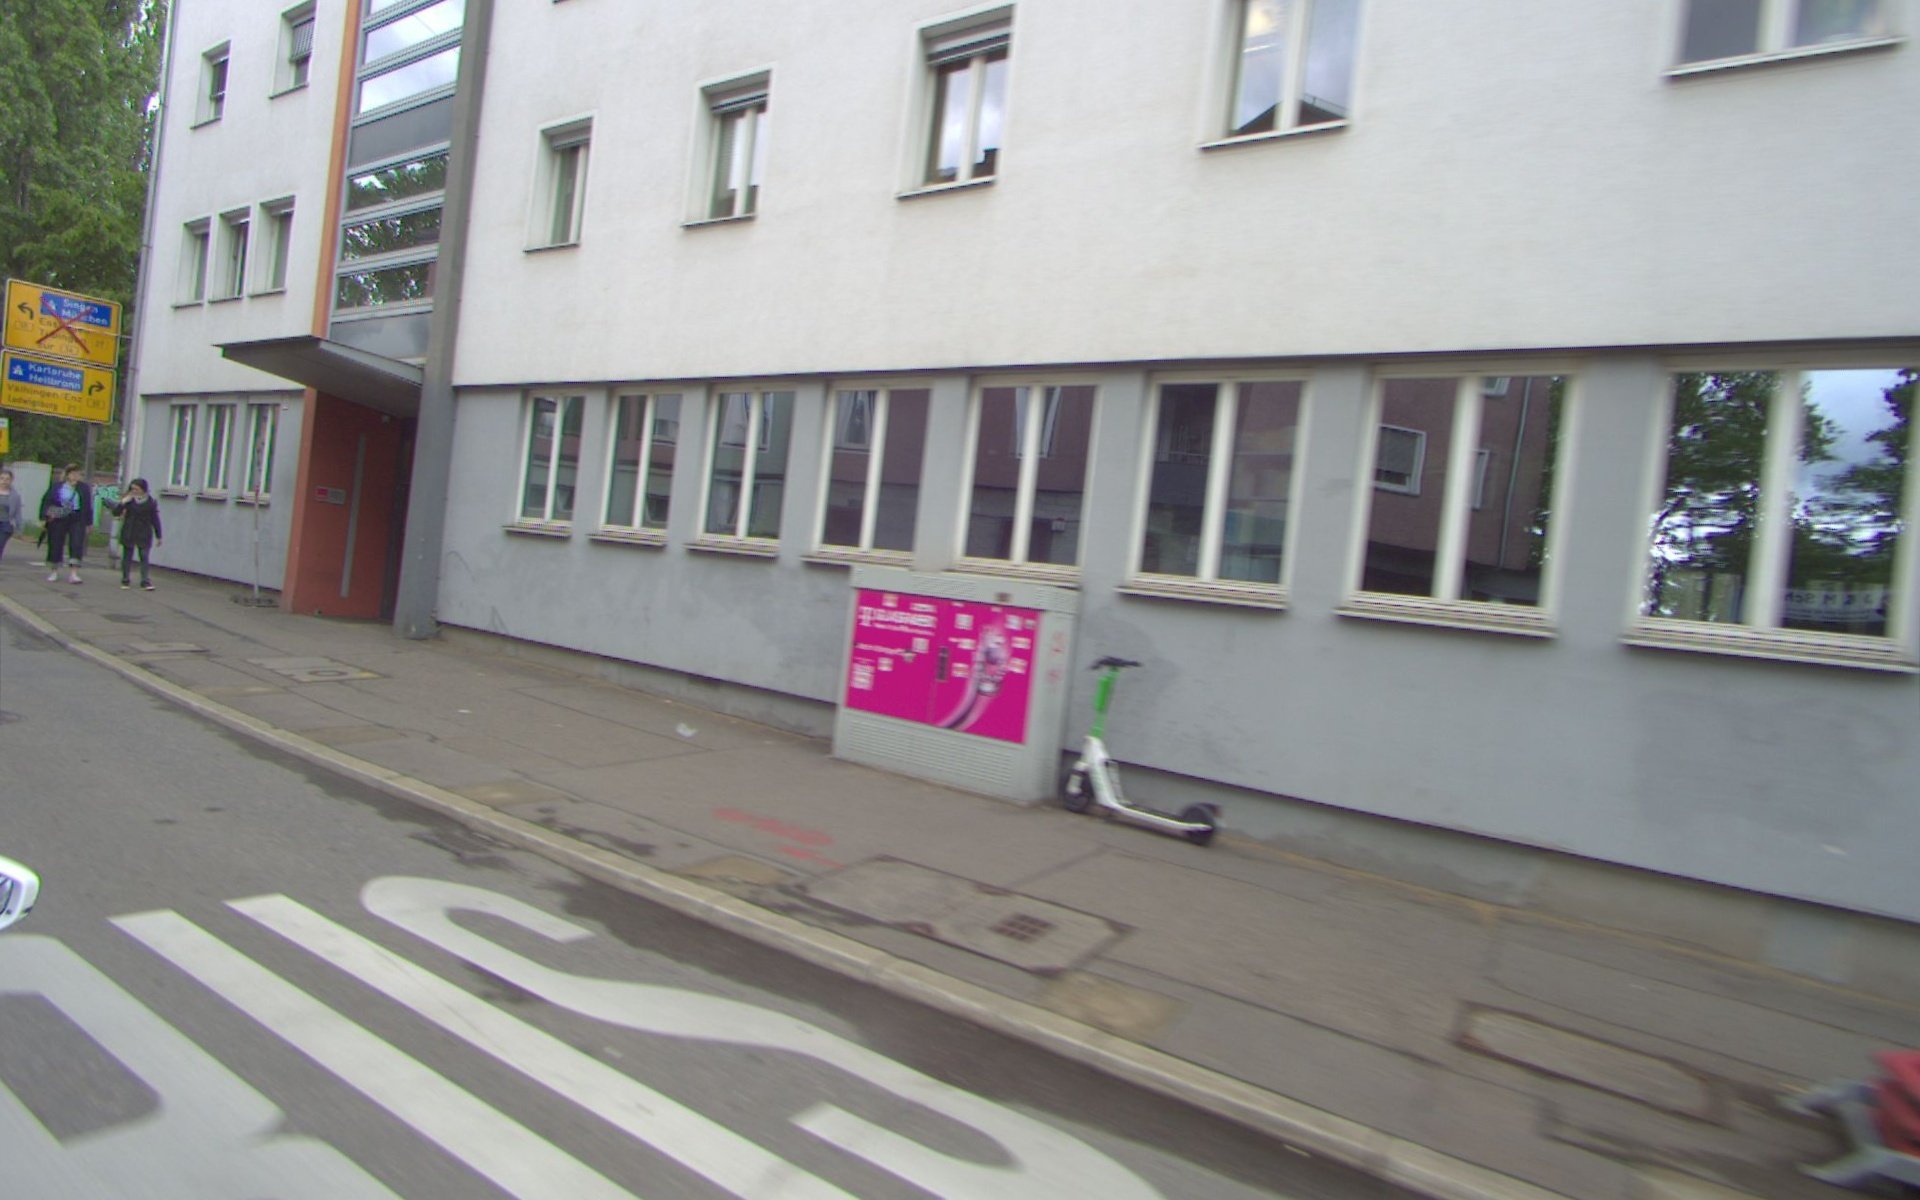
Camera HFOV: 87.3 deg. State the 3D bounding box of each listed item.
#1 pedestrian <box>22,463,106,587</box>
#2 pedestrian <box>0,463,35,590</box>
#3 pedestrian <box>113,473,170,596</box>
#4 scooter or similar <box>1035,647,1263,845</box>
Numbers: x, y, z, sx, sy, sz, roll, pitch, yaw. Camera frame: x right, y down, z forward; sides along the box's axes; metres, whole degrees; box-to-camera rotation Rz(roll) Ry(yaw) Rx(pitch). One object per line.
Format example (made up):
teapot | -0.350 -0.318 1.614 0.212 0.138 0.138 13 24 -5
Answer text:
pedestrian | -13.838 -1.148 15.536 0.864 1.780 0.686 8 3 33
pedestrian | -14.298 -1.123 14.752 0.927 1.818 0.803 8 3 33
pedestrian | -12.491 -0.998 15.349 0.540 1.780 0.601 4 4 -43
scooter or similar | 1.307 0.978 7.094 1.415 1.111 0.428 7 2 33
